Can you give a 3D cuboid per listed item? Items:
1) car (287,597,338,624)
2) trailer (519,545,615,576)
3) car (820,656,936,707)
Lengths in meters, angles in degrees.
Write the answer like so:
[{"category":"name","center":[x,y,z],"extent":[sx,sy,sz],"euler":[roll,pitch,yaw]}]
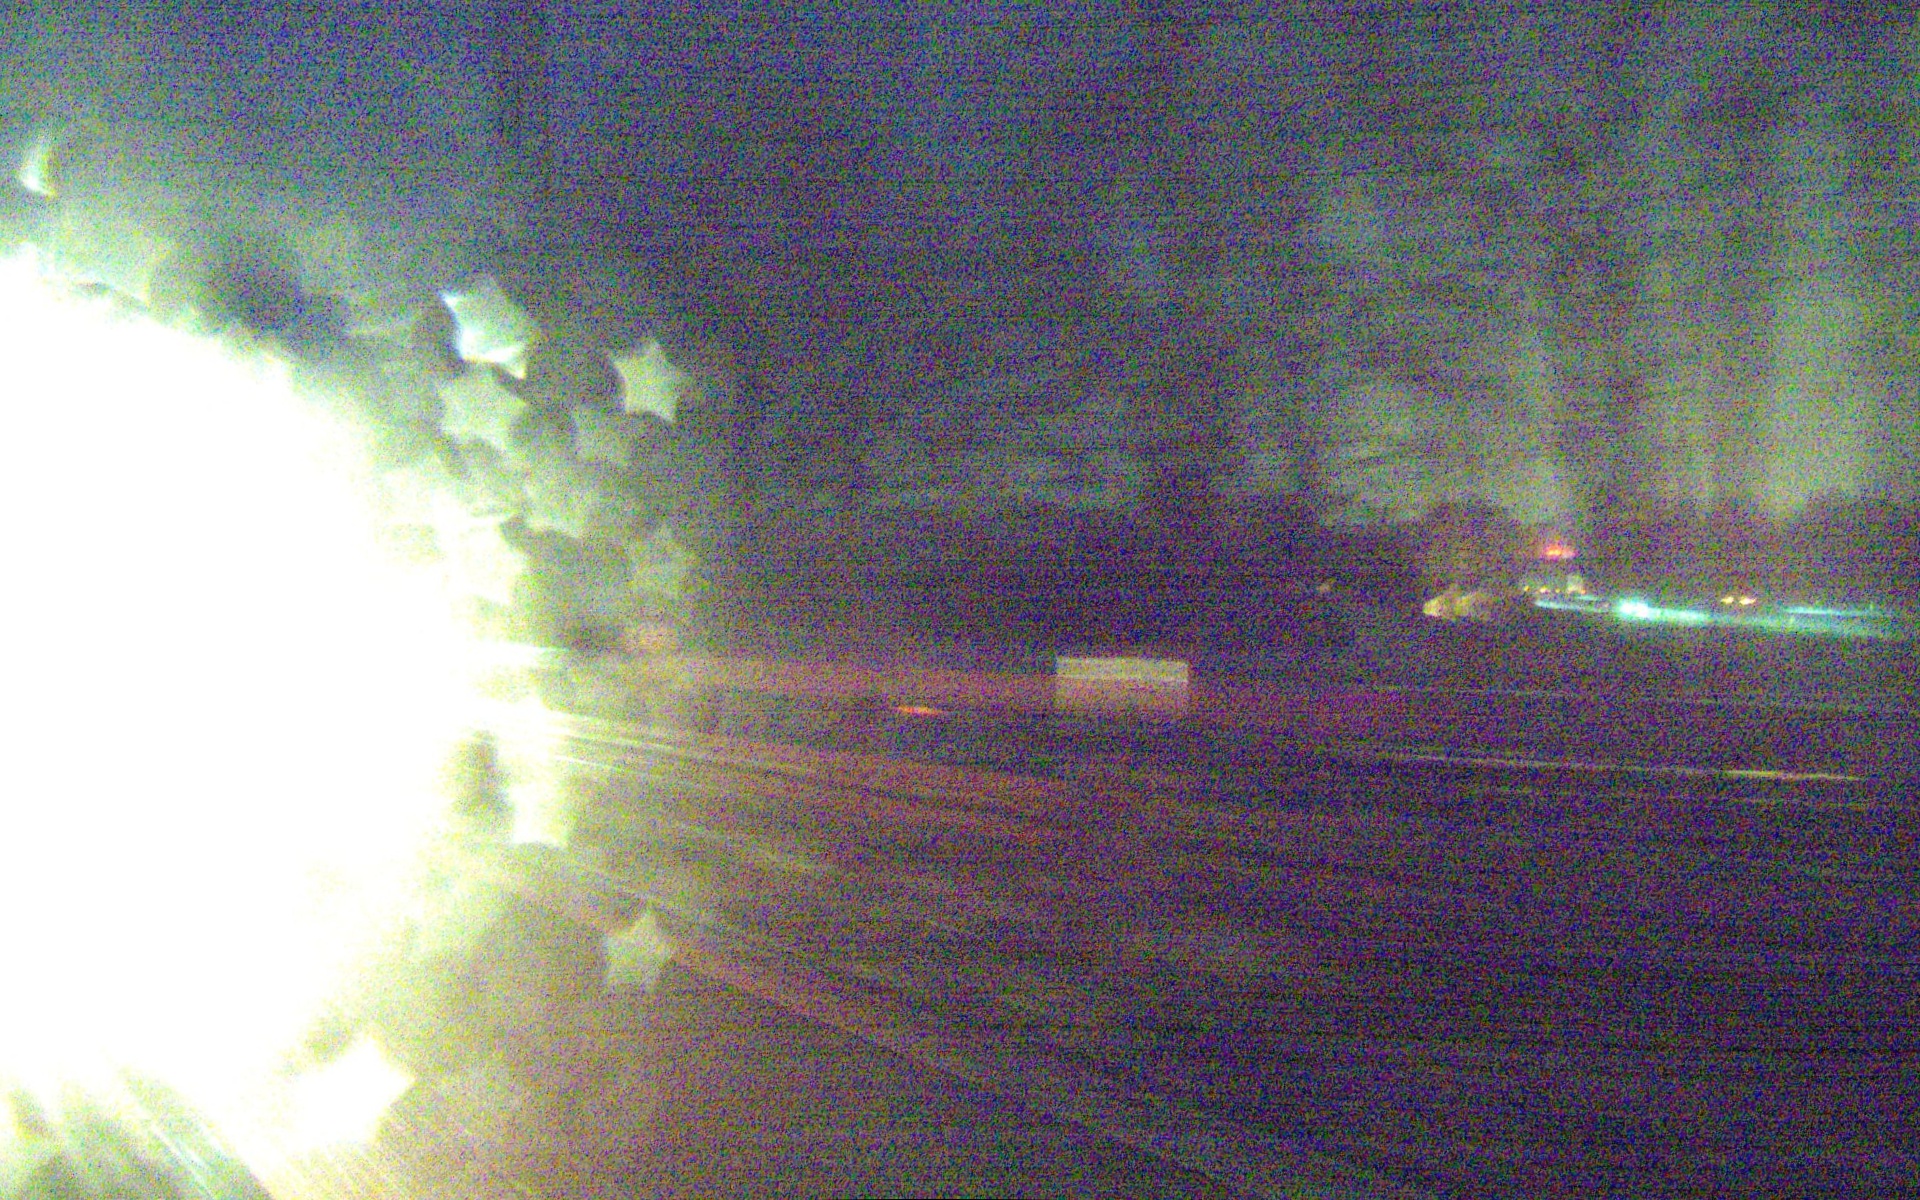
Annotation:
[{"category":"car","center":[-42.661,0.669,66.646],"extent":[4.043,1.501,1.740],"euler":[5,3,40]},{"category":"trailer","center":[-60.633,-6.115,156.360],"extent":[13.473,4.367,2.549],"euler":[-2,5,-22]},{"category":"car","center":[-3.100,3.056,38.325],"extent":[4.079,1.436,1.730],"euler":[3,3,27]}]
